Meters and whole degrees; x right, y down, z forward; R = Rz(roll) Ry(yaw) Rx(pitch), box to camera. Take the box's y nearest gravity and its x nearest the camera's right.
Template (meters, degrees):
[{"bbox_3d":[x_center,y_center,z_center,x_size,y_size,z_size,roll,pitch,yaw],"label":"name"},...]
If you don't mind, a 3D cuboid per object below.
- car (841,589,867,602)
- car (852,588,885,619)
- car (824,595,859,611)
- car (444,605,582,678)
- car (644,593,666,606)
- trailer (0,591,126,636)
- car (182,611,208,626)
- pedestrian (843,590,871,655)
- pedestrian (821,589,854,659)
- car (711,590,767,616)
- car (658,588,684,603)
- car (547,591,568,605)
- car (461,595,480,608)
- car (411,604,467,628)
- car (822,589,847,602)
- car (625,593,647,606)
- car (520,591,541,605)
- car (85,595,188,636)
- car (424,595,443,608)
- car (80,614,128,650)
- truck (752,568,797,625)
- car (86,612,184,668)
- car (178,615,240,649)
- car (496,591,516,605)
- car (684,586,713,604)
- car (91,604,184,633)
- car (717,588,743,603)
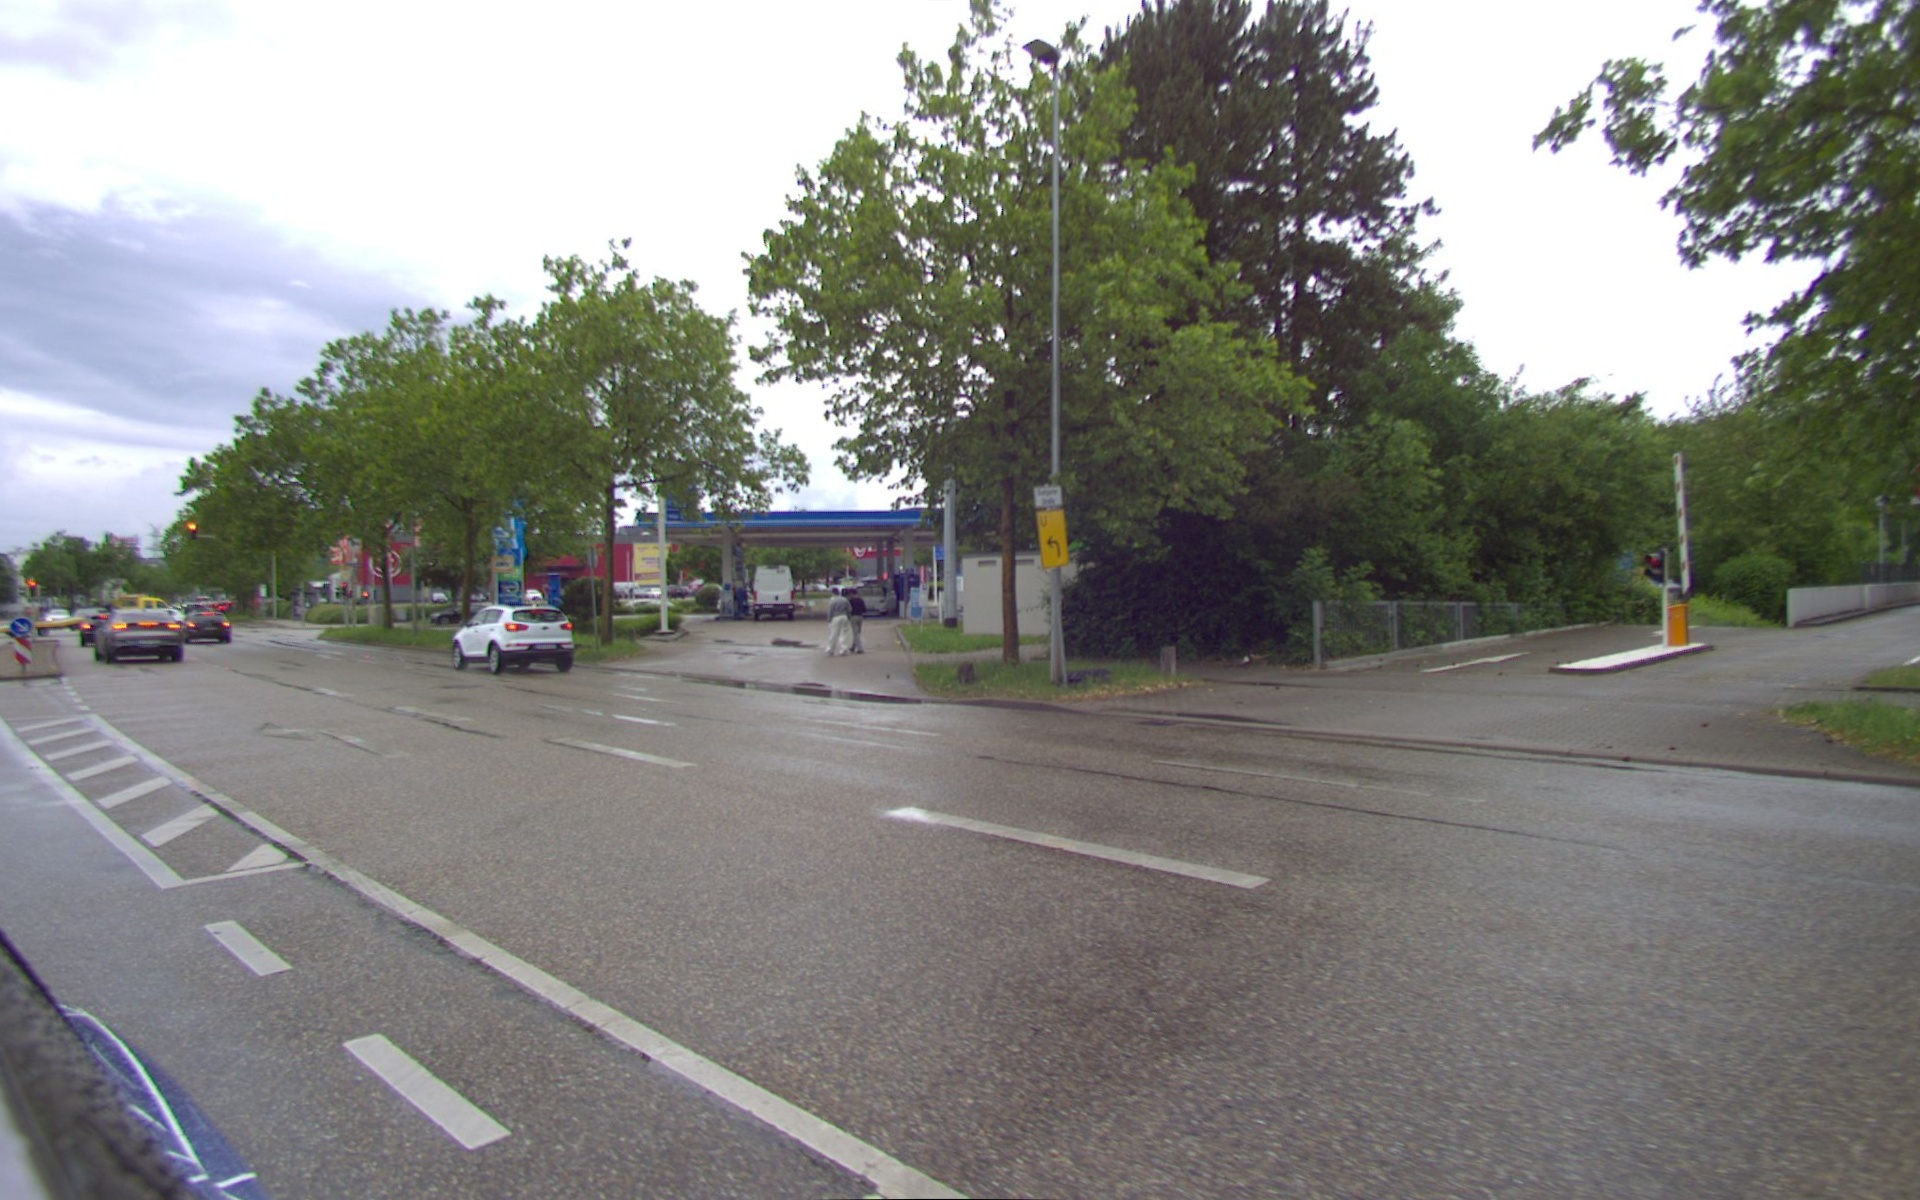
[{"bbox_3d":[-13.421,-0.552,127.707,1.645,1.658,3.837,0,-1,-34],"label":"car"},{"bbox_3d":[-4.912,0.169,54.475,1.664,1.594,3.567,-1,1,-5],"label":"car"},{"bbox_3d":[-12.503,0.324,106.312,1.658,1.621,4.294,0,-1,-39],"label":"car"},{"bbox_3d":[-11.225,0.948,25.243,1.905,1.631,4.404,0,0,-42],"label":"car"},{"bbox_3d":[-40.263,-0.111,133.620,1.645,1.658,3.973,0,-1,-34],"label":"car"},{"bbox_3d":[-55.557,0.828,61.015,2.297,2.492,7.907,-3,0,24],"label":"trailer"},{"bbox_3d":[-75.039,1.837,99.284,1.759,1.415,4.011,0,-1,-34],"label":"car"},{"bbox_3d":[-2.716,0.595,26.790,0.540,1.695,0.506,-1,-1,43],"label":"pedestrian"},{"bbox_3d":[-3.187,0.614,26.257,0.655,1.780,0.585,-2,0,-26],"label":"pedestrian"},{"bbox_3d":[-15.842,0.194,72.558,1.811,1.811,3.654,0,0,37],"label":"car"},{"bbox_3d":[-32.695,-0.517,114.336,1.645,1.658,3.837,0,-1,-34],"label":"car"},{"bbox_3d":[-50.550,-0.261,127.047,1.645,1.658,3.973,0,-1,-34],"label":"car"},{"bbox_3d":[-65.740,0.227,135.907,1.669,1.658,3.973,0,-1,-34],"label":"car"},{"bbox_3d":[-38.684,1.164,75.172,3.482,1.709,1.605,-2,1,-38],"label":"car"},{"bbox_3d":[-16.387,-0.536,132.289,1.645,1.658,3.837,0,-1,-34],"label":"car"},{"bbox_3d":[-42.329,-0.107,132.155,1.645,1.658,3.973,0,-1,-34],"label":"car"},{"bbox_3d":[-53.579,-0.253,126.116,1.645,1.658,3.973,0,-1,-34],"label":"car"},{"bbox_3d":[-54.081,0.956,66.619,2.222,2.492,5.000,-3,0,10],"label":"car"},{"bbox_3d":[-67.337,0.223,129.383,1.669,1.658,3.973,0,-1,-34],"label":"car"},{"bbox_3d":[-38.550,1.418,45.619,1.622,1.520,3.900,0,-1,-40],"label":"car"},{"bbox_3d":[-9.565,-0.087,52.023,2.120,2.695,7.890,0,-1,-11],"label":"truck"},{"bbox_3d":[-25.290,1.161,30.975,4.599,1.574,1.791,0,0,44],"label":"car"},{"bbox_3d":[-35.787,1.498,48.180,1.969,1.520,4.736,1,-1,-42],"label":"car"},{"bbox_3d":[-62.155,-0.277,138.525,1.762,1.940,3.759,0,-1,-36],"label":"car"},{"bbox_3d":[-34.506,-0.611,133.399,1.796,2.321,5.662,0,-1,-34],"label":"car"},{"bbox_3d":[-50.164,1.110,61.791,1.892,1.564,3.964,-1,1,27],"label":"car"},{"bbox_3d":[-26.989,-0.524,118.719,1.645,1.658,3.837,0,-1,-34],"label":"car"}]
